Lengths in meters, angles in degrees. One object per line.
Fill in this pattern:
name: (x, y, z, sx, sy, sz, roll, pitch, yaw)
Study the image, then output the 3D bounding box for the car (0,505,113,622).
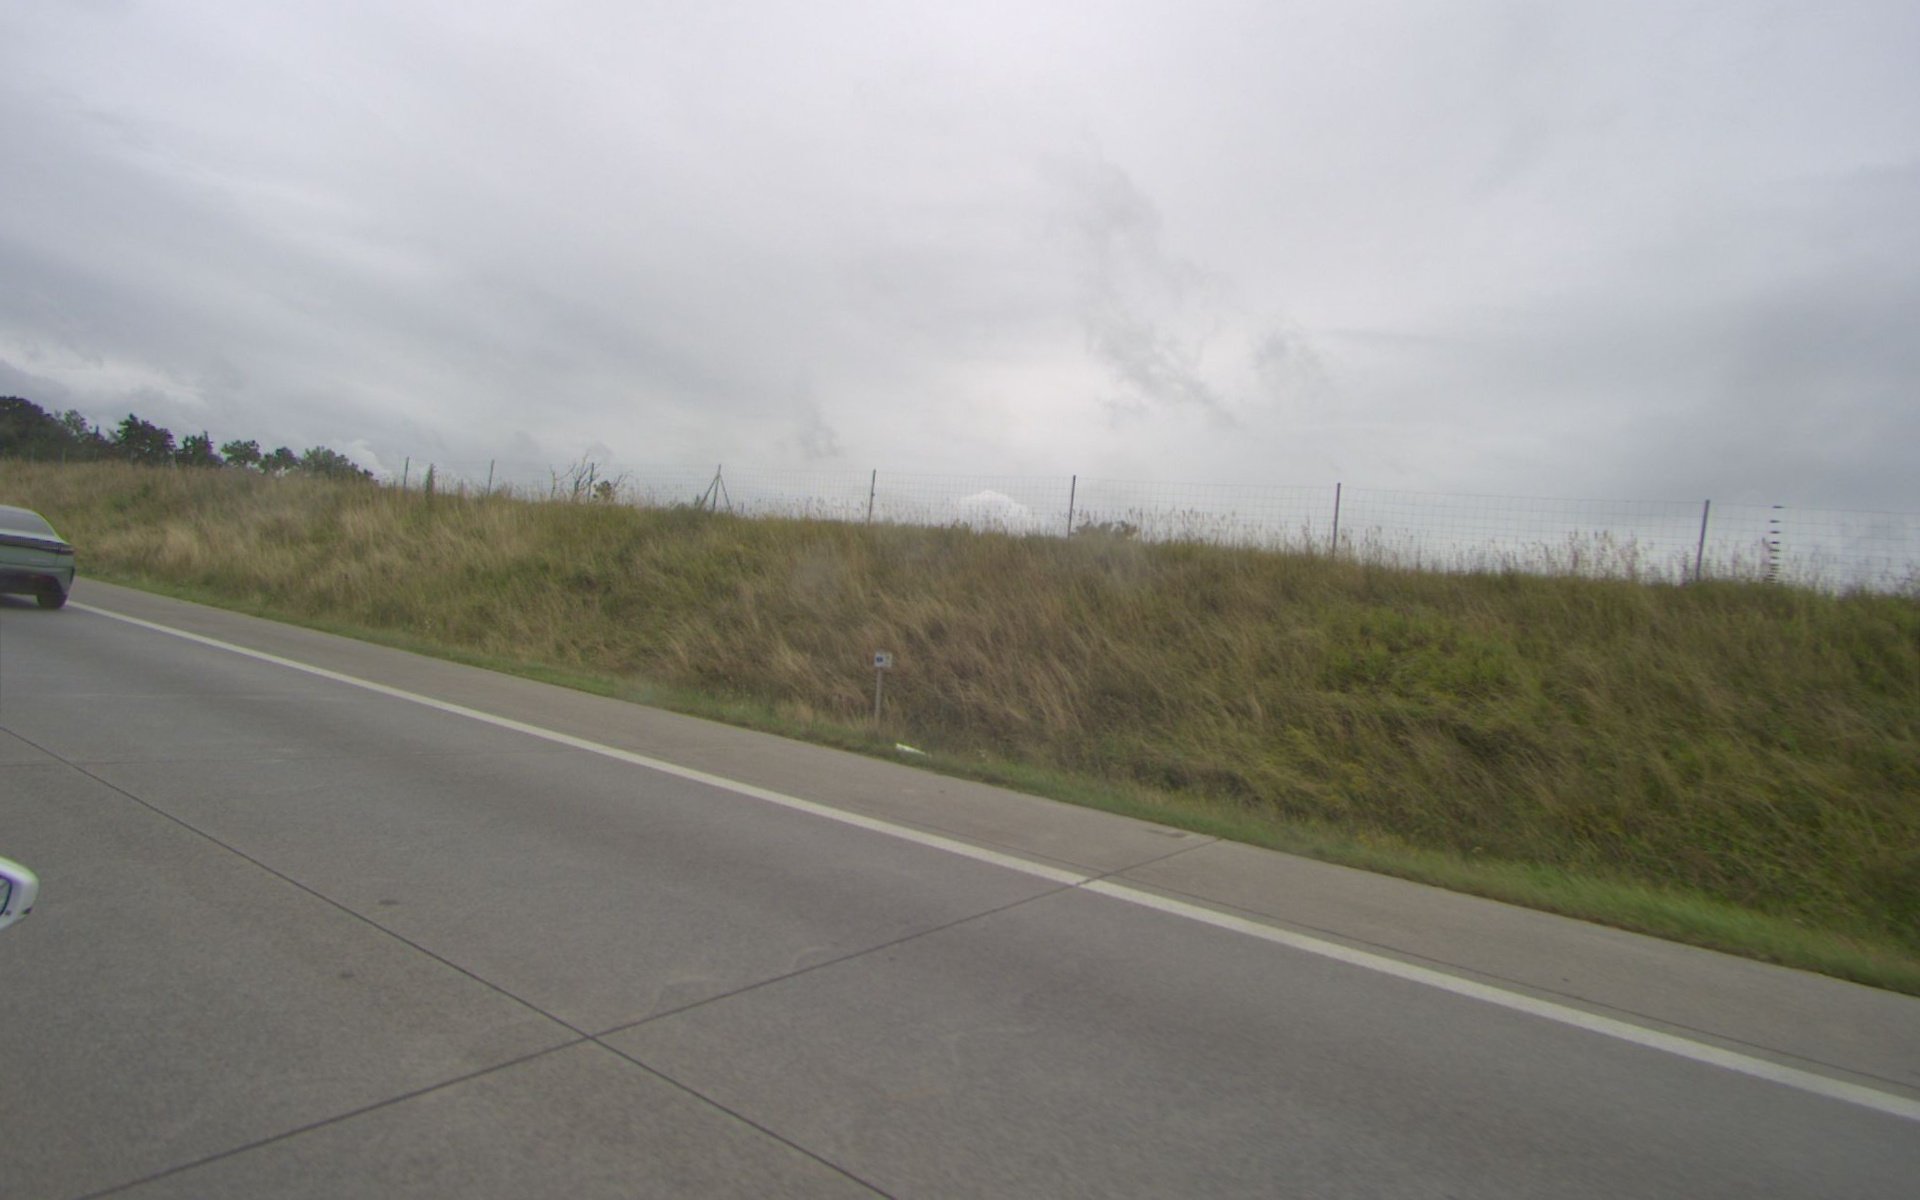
car: (-15.219, -0.755, 15.439, 4.667, 1.463, 2.018, 8, -1, 33)
